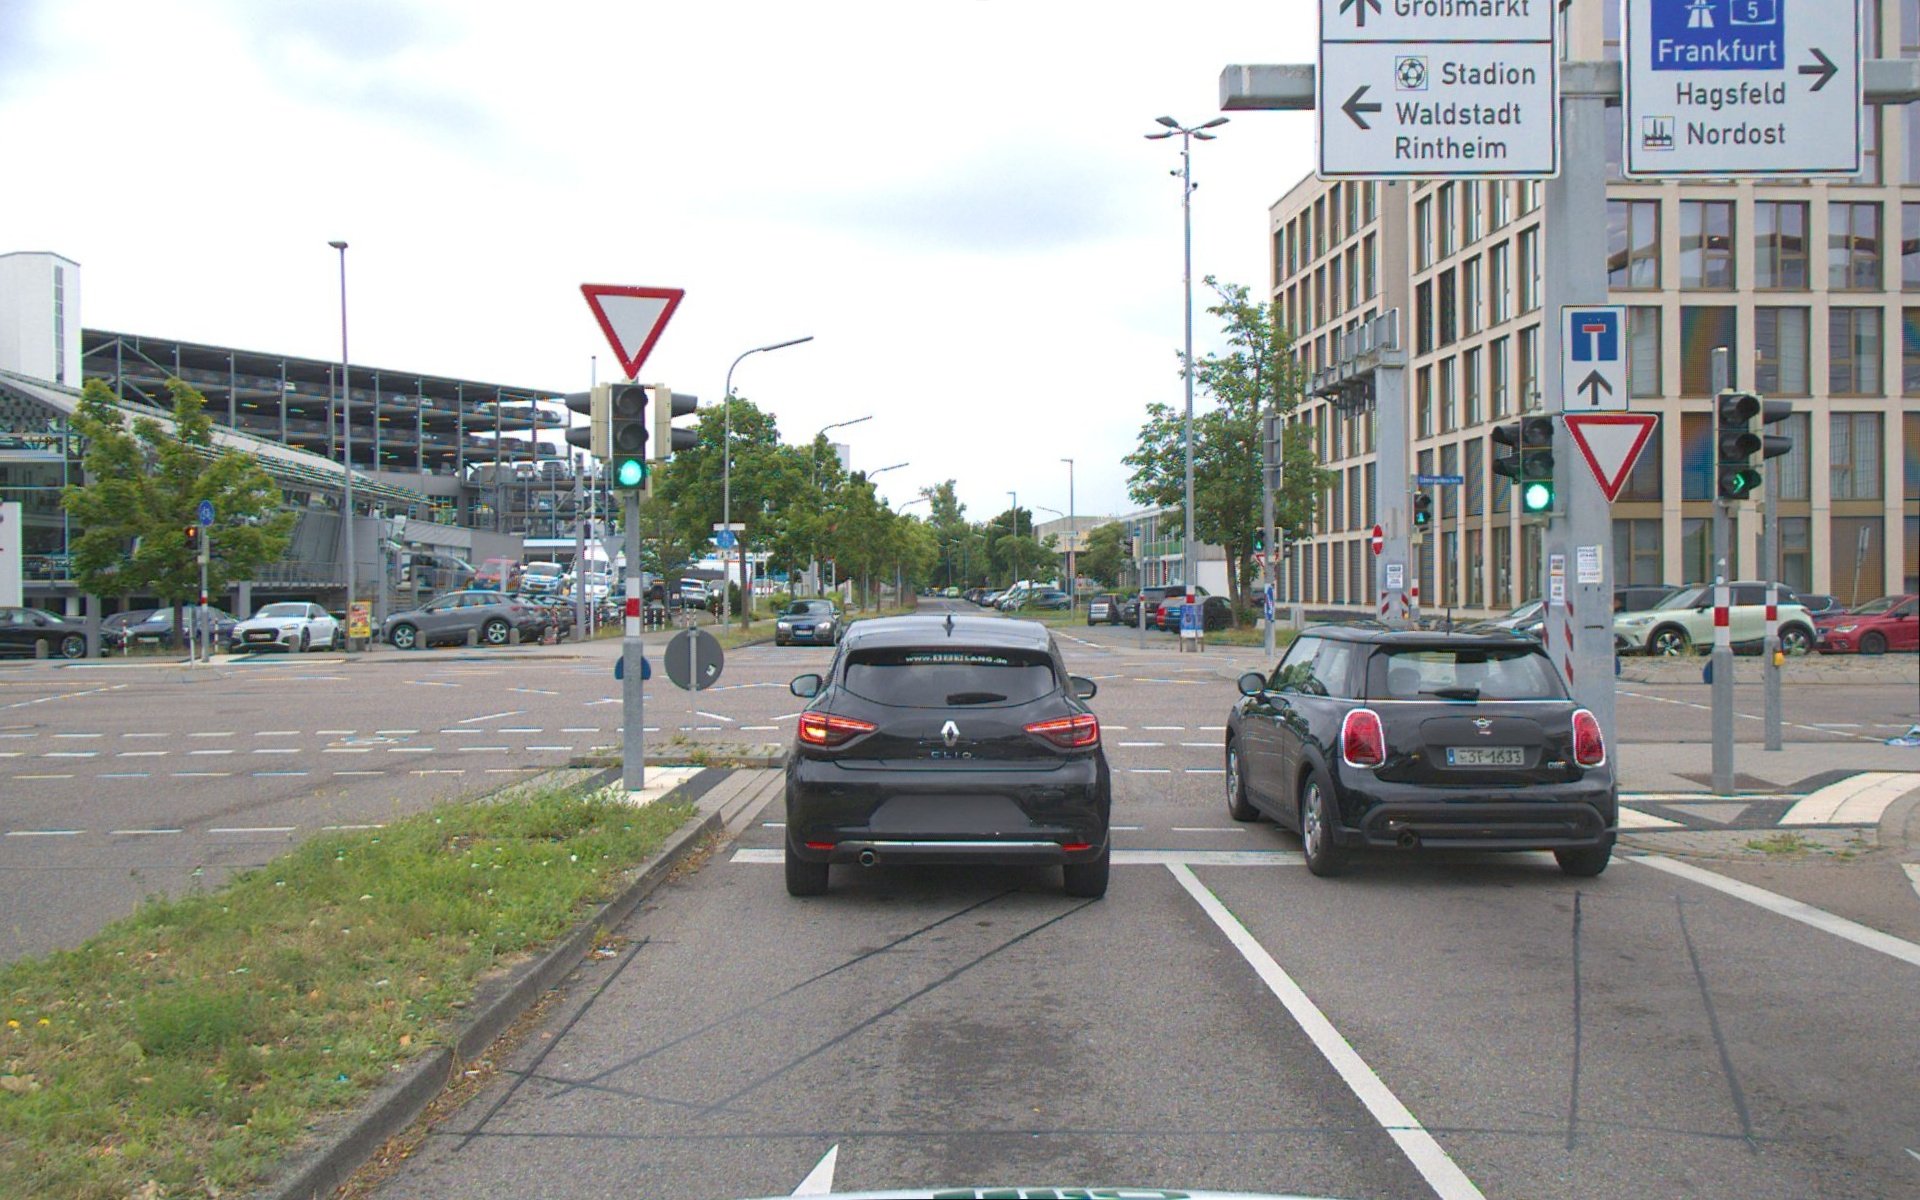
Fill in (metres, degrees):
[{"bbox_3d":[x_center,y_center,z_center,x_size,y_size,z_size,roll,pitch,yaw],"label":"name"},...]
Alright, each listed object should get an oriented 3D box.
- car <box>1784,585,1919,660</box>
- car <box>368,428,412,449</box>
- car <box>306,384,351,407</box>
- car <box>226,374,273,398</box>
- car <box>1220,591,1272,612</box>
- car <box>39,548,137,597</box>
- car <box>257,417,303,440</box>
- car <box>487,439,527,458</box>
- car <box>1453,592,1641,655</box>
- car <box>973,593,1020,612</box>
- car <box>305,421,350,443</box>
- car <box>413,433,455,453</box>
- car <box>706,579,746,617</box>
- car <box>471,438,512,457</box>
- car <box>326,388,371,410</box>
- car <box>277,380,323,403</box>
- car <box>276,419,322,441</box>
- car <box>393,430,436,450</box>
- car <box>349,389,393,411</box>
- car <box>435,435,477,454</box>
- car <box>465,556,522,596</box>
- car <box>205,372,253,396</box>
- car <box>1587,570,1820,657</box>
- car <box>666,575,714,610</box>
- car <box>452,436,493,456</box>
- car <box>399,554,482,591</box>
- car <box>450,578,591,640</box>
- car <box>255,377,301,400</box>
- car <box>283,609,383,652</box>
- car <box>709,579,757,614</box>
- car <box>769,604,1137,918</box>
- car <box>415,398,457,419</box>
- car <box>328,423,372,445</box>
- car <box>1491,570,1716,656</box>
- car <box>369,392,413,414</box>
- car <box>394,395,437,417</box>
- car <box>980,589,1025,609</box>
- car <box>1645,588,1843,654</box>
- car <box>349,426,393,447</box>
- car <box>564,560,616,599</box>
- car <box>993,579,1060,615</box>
[{"bbox_3d":[21.353,0.536,37.940,3.908,1.629,1.998,1,-1,-4],"label":"car"},{"bbox_3d":[-55.599,-15.771,161.306,3.914,1.696,1.995,0,0,31],"label":"car"},{"bbox_3d":[-59.247,-19.155,155.217,3.914,1.696,1.995,0,0,31],"label":"car"},{"bbox_3d":[-63.677,-19.196,148.256,3.914,1.696,1.995,0,0,31],"label":"car"},{"bbox_3d":[19.121,0.127,110.579,3.181,1.356,1.477,1,-1,-19],"label":"car"},{"bbox_3d":[-32.594,-0.998,61.922,1.784,1.691,3.995,1,-1,-5],"label":"car"},{"bbox_3d":[-61.950,-15.613,150.738,3.914,1.696,1.995,0,0,31],"label":"car"},{"bbox_3d":[-47.979,-16.014,175.178,3.914,1.696,1.995,0,0,31],"label":"car"},{"bbox_3d":[14.429,0.585,40.730,4.005,1.457,1.749,1,-1,-5],"label":"car"},{"bbox_3d":[4.021,0.283,181.510,5.069,2.049,2.143,1,-1,-2],"label":"car"},{"bbox_3d":[-59.302,-15.767,155.085,3.914,1.696,1.995,0,0,31],"label":"car"},{"bbox_3d":[-52.858,-15.743,166.262,3.914,1.696,1.995,0,0,31],"label":"car"},{"bbox_3d":[-13.311,-0.099,94.189,1.954,2.049,3.996,1,-1,-4],"label":"car"},{"bbox_3d":[-49.048,-15.976,173.206,3.914,1.696,1.995,0,0,31],"label":"car"},{"bbox_3d":[-58.127,-19.110,157.244,3.914,1.696,1.995,0,0,31],"label":"car"},{"bbox_3d":[-60.879,-19.196,152.555,3.914,1.696,1.995,0,0,31],"label":"car"},{"bbox_3d":[-61.087,-15.708,152.831,3.914,1.696,1.995,0,0,31],"label":"car"},{"bbox_3d":[-54.031,-15.846,163.896,3.914,1.696,1.995,0,0,31],"label":"car"},{"bbox_3d":[-56.779,-19.244,159.564,3.914,1.696,1.995,0,0,31],"label":"car"},{"bbox_3d":[-51.379,-15.850,168.690,3.914,1.696,1.995,0,0,31],"label":"car"},{"bbox_3d":[-23.248,-1.178,82.560,1.954,1.881,3.996,1,-1,-4],"label":"car"},{"bbox_3d":[-64.617,-19.086,146.193,3.914,1.696,1.995,0,0,31],"label":"car"},{"bbox_3d":[15.305,0.292,34.158,3.977,1.672,1.903,1,-1,-6],"label":"car"},{"bbox_3d":[-13.491,-0.369,82.781,1.954,1.646,3.996,1,-1,-4],"label":"car"},{"bbox_3d":[-50.279,-15.889,170.666,3.914,1.696,1.995,0,0,31],"label":"car"},{"bbox_3d":[-27.945,-1.449,89.035,3.908,1.870,1.758,1,-1,-3],"label":"car"},{"bbox_3d":[-16.075,0.324,60.743,4.682,2.049,1.997,-2,-1,-7],"label":"car"},{"bbox_3d":[-62.120,-19.242,150.671,3.914,1.696,1.995,0,0,31],"label":"car"},{"bbox_3d":[-28.839,1.410,76.141,3.910,1.870,1.757,1,-1,-7],"label":"car"},{"bbox_3d":[-11.384,-0.159,83.206,1.953,1.646,3.998,1,-1,-2],"label":"car"},{"bbox_3d":[-0.055,0.791,9.851,1.721,1.460,3.999,1,-1,-1],"label":"car"},{"bbox_3d":[-52.700,-19.254,166.404,3.914,1.696,1.995,0,0,31],"label":"car"},{"bbox_3d":[-58.003,-15.783,157.227,3.914,1.696,1.995,0,0,31],"label":"car"},{"bbox_3d":[14.518,0.300,37.450,4.321,1.800,1.998,1,-1,-5],"label":"car"},{"bbox_3d":[-55.532,-19.191,161.403,3.914,1.696,1.995,0,0,31],"label":"car"},{"bbox_3d":[-54.021,-19.224,164.085,3.914,1.696,1.995,0,0,31],"label":"car"},{"bbox_3d":[4.483,-0.096,174.912,4.690,1.924,2.142,1,-1,-3],"label":"car"},{"bbox_3d":[19.395,0.518,41.021,4.055,1.517,1.870,1,-1,-5],"label":"car"},{"bbox_3d":[-56.737,-15.789,159.439,3.914,1.696,1.995,0,0,31],"label":"car"},{"bbox_3d":[-18.428,-0.999,82.508,1.954,1.855,3.996,1,-1,-4],"label":"car"},{"bbox_3d":[6.056,-0.287,150.955,5.993,3.171,2.133,1,-1,-2],"label":"car"}]
